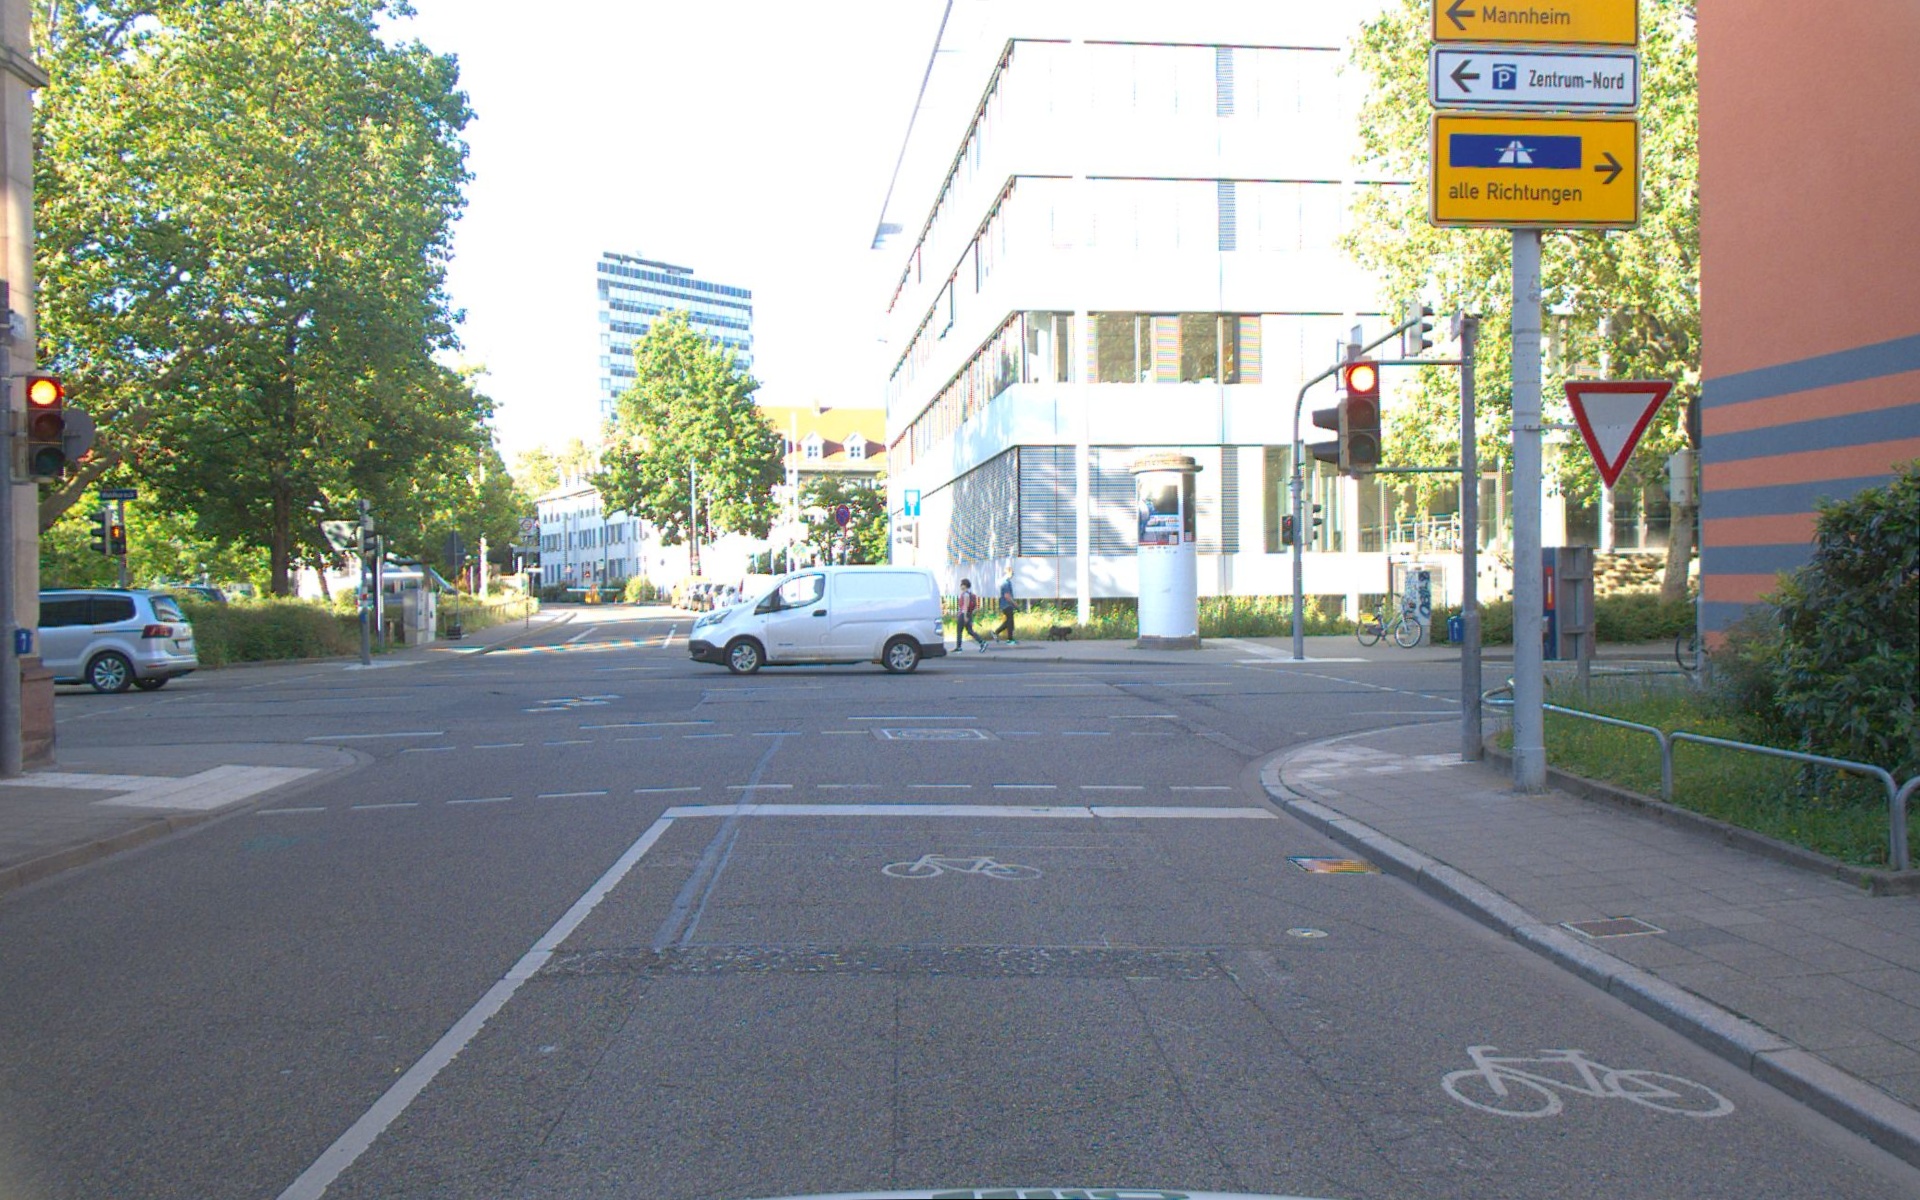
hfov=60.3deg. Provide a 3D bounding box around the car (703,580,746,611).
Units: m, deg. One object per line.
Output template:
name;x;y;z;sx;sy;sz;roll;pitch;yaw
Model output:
car;-11.547;-0.216;80.960;1.675;1.449;4.223;-1;1;-14

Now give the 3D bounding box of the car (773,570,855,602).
car;-9.065;-0.838;102.708;4.804;1.905;1.990;0;0;-17

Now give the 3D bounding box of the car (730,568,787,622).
car;-7.885;-0.210;64.510;2.029;1.997;4.229;-1;1;-9

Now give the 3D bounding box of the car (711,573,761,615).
car;-10.368;-0.293;76.342;1.913;1.826;4.224;-1;1;-13

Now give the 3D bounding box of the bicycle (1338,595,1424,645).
bicycle;9.209;0.422;36.243;0.460;1.067;1.886;-1;1;-42

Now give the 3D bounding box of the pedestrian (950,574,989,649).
pedestrian;0.213;0.256;36.260;0.697;1.627;0.618;-1;0;17

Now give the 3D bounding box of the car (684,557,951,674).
car;-2.480;0.248;28.790;4.454;1.831;1.634;-2;1;-8

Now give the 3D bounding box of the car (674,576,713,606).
car;-15.410;-0.532;95.412;2.063;1.686;4.463;-1;1;-11

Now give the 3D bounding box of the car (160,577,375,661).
car;-15.779;0.413;37.891;4.146;1.808;1.901;-1;1;-9

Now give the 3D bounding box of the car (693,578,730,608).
car;-12.880;-0.385;85.628;1.674;1.489;4.226;-1;1;-11

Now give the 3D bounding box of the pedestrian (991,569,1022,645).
pedestrian;1.099;0.156;39.142;0.638;1.766;0.813;-1;0;6

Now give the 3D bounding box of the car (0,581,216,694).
car;-15.167;0.628;27.550;4.668;1.736;1.797;-2;1;-7
